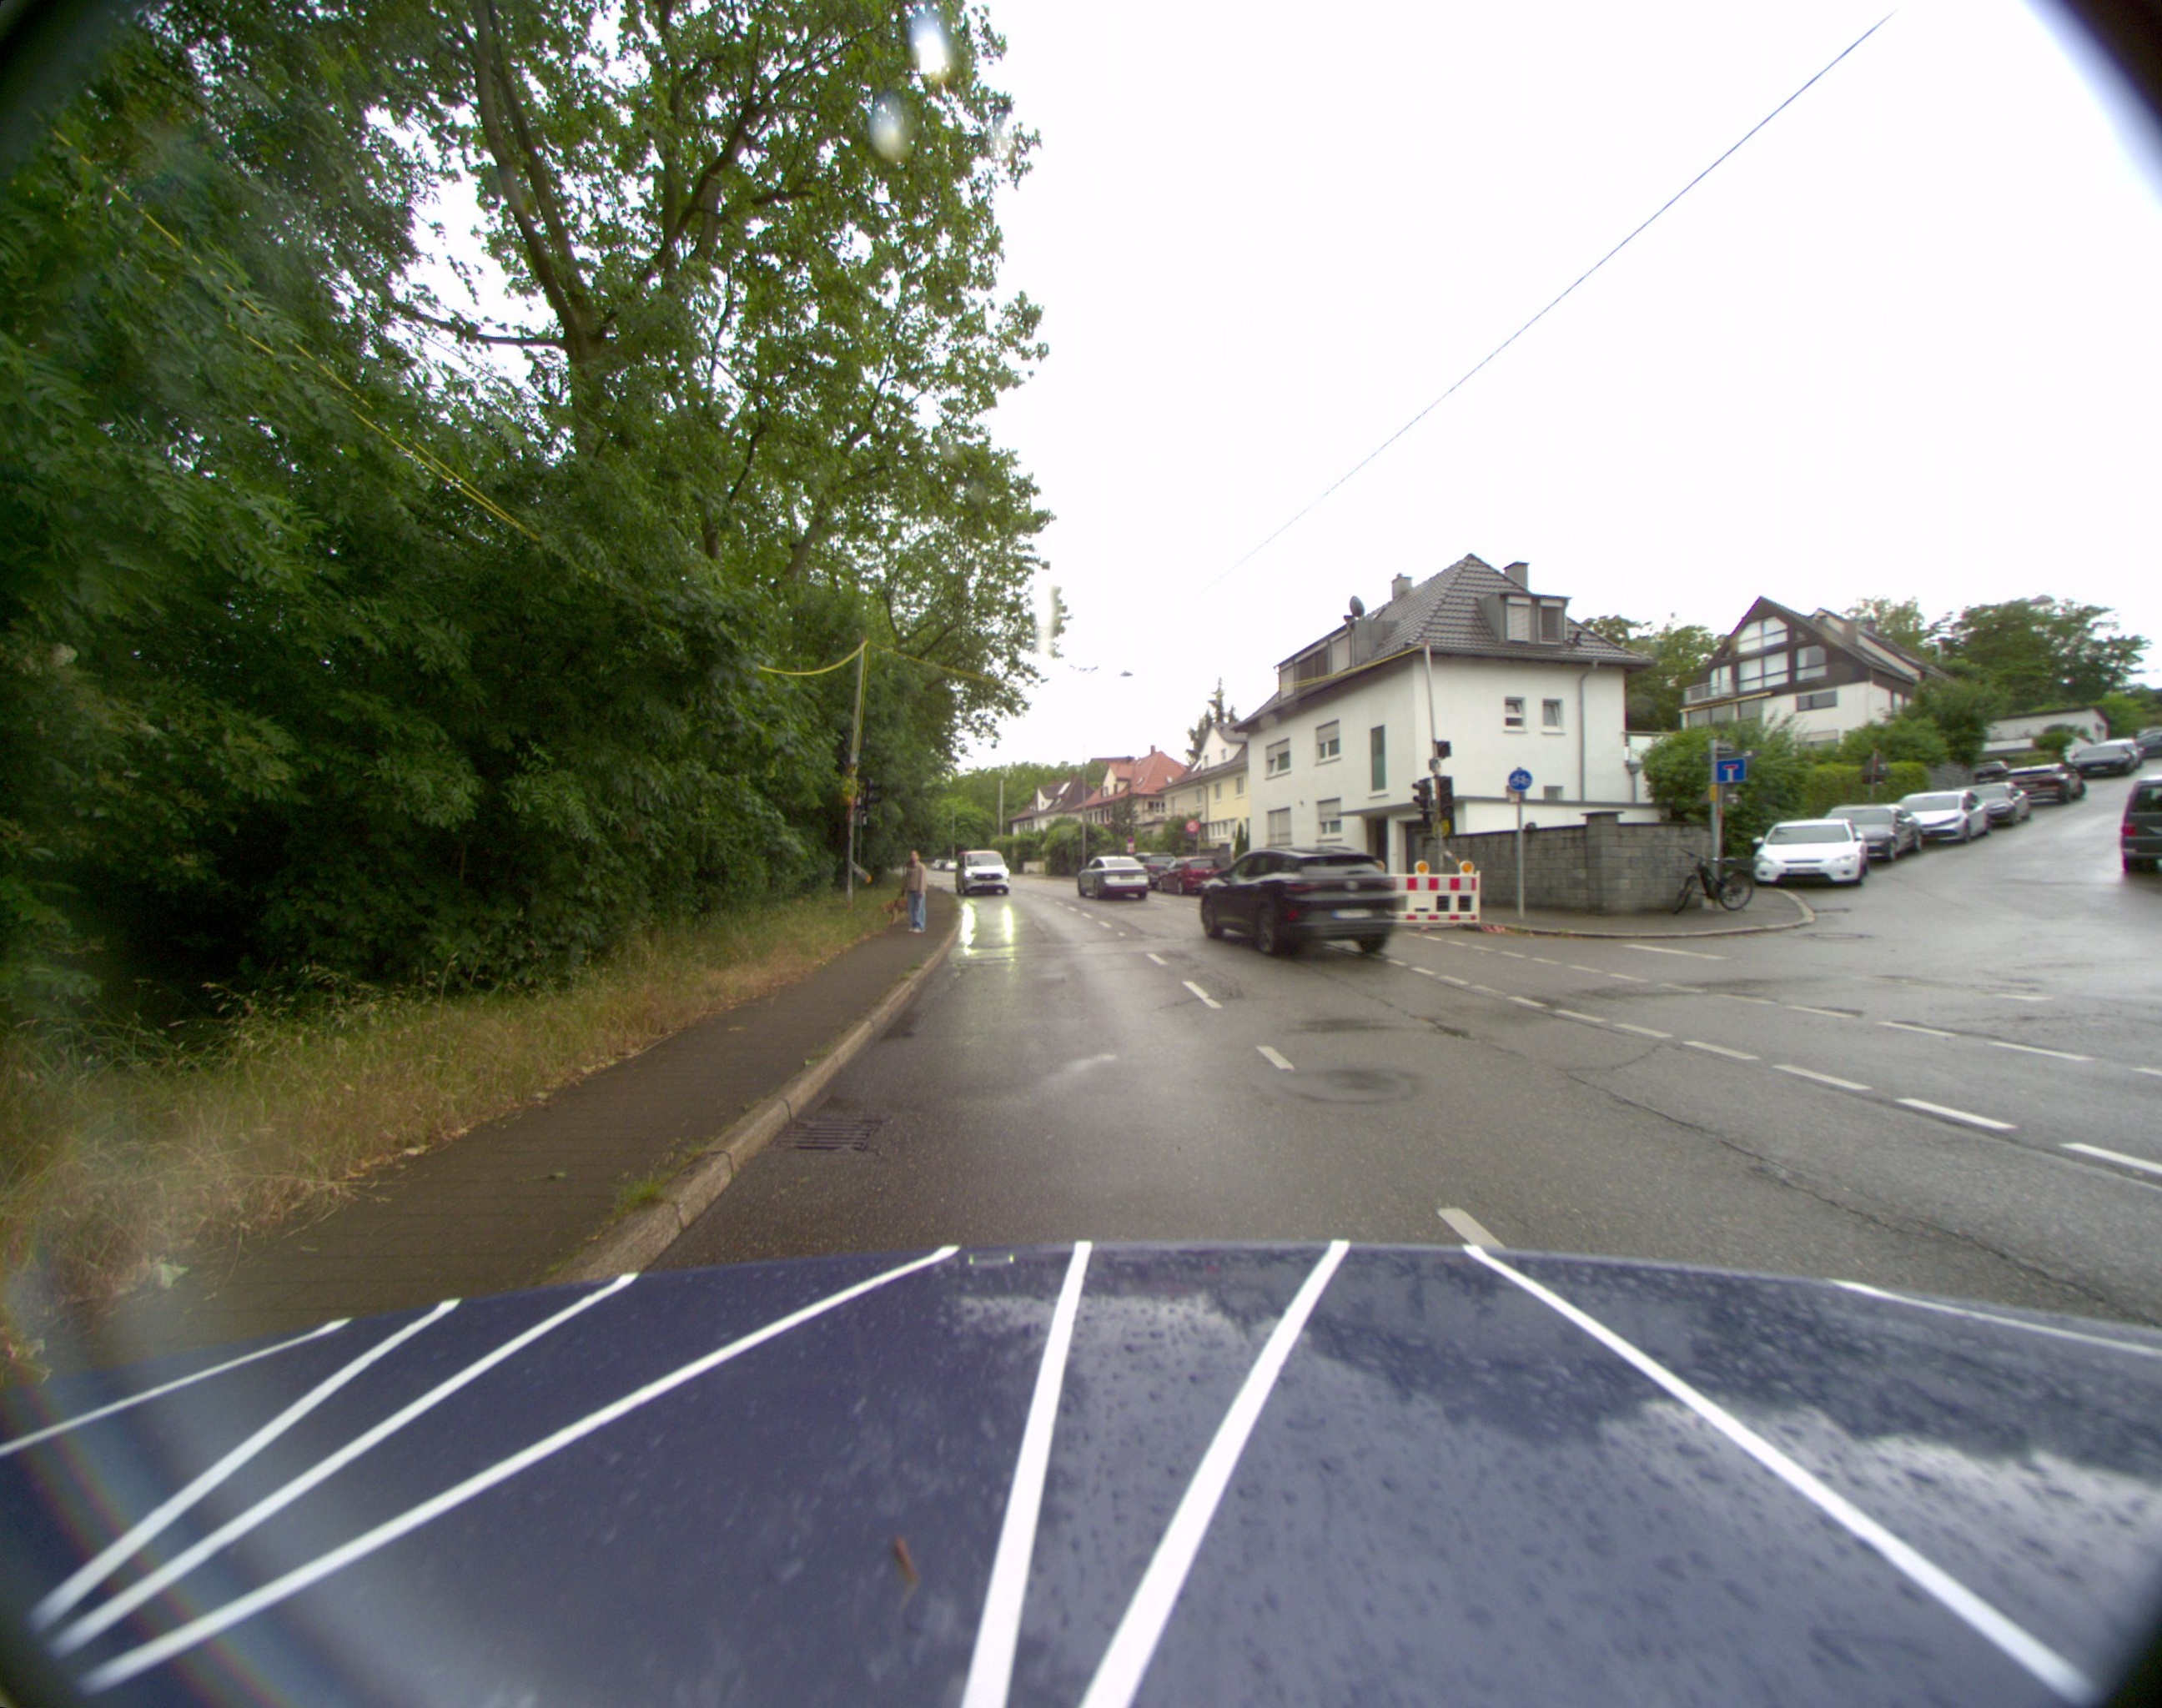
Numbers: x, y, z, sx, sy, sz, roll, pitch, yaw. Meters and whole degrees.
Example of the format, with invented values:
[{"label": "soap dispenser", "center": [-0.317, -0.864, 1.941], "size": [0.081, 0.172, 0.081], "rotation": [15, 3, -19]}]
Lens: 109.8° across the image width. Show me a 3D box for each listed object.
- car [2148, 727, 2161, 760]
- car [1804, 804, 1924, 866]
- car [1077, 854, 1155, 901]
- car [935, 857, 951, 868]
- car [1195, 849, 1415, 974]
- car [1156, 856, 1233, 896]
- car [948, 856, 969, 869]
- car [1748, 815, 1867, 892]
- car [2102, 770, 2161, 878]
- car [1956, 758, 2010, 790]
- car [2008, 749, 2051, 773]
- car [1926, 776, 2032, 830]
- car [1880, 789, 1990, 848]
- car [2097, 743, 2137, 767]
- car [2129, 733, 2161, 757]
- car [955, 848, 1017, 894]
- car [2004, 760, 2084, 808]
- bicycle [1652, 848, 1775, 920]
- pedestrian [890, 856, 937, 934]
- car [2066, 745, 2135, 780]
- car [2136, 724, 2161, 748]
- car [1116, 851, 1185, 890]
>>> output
[{"label": "car", "center": [72.465, -7.443, 48.979], "size": [2.003, 2.000, 3.993], "rotation": [-2, -4, -32]}, {"label": "car", "center": [22.463, -0.560, 21.756], "size": [3.910, 1.380, 1.719], "rotation": [-7, 3, -34]}, {"label": "car", "center": [1.192, 0.802, 28.313], "size": [1.859, 1.518, 4.815], "rotation": [-1, 1, -10]}, {"label": "car", "center": [-18.742, 1.120, 103.010], "size": [1.691, 1.419, 3.770], "rotation": [-2, 0, -17]}, {"label": "car", "center": [3.376, 0.771, 12.406], "size": [1.873, 1.612, 4.161], "rotation": [-2, 0, -8]}, {"label": "car", "center": [4.382, 0.813, 29.903], "size": [1.787, 1.423, 3.844], "rotation": [-2, 0, -10]}, {"label": "car", "center": [-15.235, 1.061, 94.174], "size": [2.071, 1.477, 4.556], "rotation": [-2, 0, -16]}, {"label": "car", "center": [17.776, -0.051, 18.535], "size": [4.126, 1.455, 1.849], "rotation": [-7, 4, -43]}, {"label": "car", "center": [23.882, -0.753, 16.259], "size": [4.497, 2.003, 1.996], "rotation": [-7, 3, -31]}, {"label": "car", "center": [52.868, -4.648, 44.514], "size": [4.020, 1.545, 1.812], "rotation": [-3, 1, -37]}, {"label": "car", "center": [57.239, -5.636, 45.863], "size": [3.656, 1.205, 1.577], "rotation": [-7, 3, -38]}, {"label": "car", "center": [32.327, -1.833, 27.331], "size": [4.111, 1.430, 1.921], "rotation": [-9, 4, -33]}, {"label": "car", "center": [27.269, -1.154, 24.229], "size": [3.951, 1.462, 1.755], "rotation": [-7, 3, -33]}, {"label": "car", "center": [59.838, -5.739, 43.895], "size": [2.988, 1.191, 1.305], "rotation": [-6, 3, -35]}, {"label": "car", "center": [68.325, -6.933, 47.695], "size": [1.286, 1.310, 2.945], "rotation": [-3, 1, -36]}, {"label": "car", "center": [-4.484, 0.746, 35.097], "size": [2.104, 1.908, 5.083], "rotation": [-2, 0, -15]}, {"label": "car", "center": [40.719, -2.983, 32.110], "size": [4.004, 1.617, 1.638], "rotation": [-8, 4, -32]}, {"label": "bicycle", "center": [11.587, 0.533, 13.933], "size": [2.006, 1.233, 0.510], "rotation": [-2, 3, -8]}, {"label": "pedestrian", "center": [-3.293, 0.784, 14.980], "size": [0.735, 1.490, 0.785], "rotation": [0, 1, -1]}, {"label": "car", "center": [54.815, -4.877, 40.838], "size": [4.034, 1.511, 1.786], "rotation": [-2, 0, -31]}, {"label": "car", "center": [81.119, -8.862, 55.956], "size": [1.754, 1.508, 3.961], "rotation": [-3, 1, -35]}, {"label": "car", "center": [3.129, 0.726, 35.031], "size": [1.798, 1.630, 4.150], "rotation": [-1, 0, -15]}]
